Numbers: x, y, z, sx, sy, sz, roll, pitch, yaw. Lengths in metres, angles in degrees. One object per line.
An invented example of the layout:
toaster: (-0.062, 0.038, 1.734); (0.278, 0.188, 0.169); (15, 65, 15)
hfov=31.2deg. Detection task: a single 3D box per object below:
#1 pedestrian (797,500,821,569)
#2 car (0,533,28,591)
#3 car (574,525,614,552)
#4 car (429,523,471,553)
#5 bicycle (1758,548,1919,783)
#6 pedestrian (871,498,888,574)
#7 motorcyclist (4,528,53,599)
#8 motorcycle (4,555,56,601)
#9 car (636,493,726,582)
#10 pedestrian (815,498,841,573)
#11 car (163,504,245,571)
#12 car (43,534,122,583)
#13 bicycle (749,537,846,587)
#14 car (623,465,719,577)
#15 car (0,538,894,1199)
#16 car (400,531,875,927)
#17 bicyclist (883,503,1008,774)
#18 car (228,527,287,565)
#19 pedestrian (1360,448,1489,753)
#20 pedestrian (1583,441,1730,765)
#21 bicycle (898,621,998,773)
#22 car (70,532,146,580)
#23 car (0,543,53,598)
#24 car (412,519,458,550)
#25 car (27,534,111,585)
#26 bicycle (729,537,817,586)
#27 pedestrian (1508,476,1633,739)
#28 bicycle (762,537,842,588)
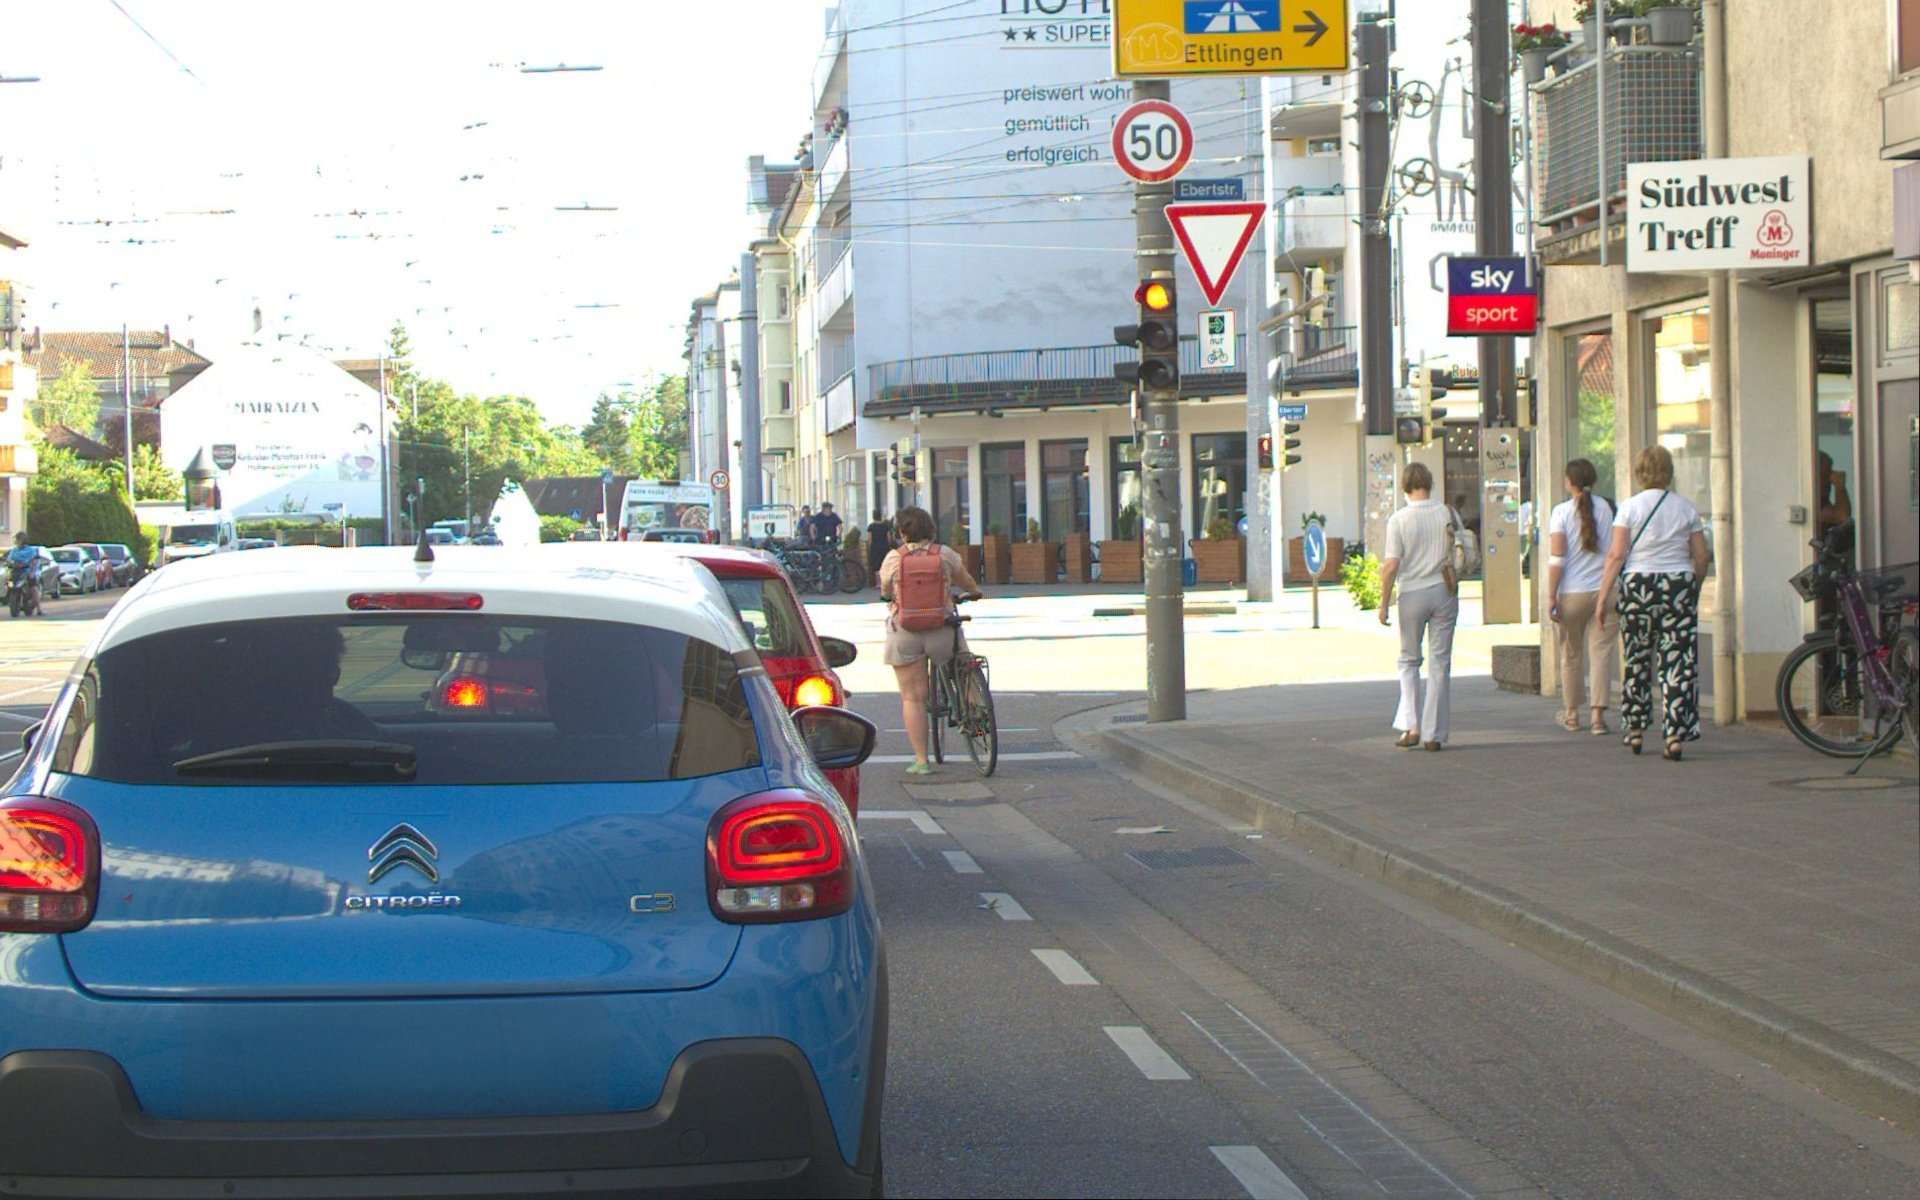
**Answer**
pedestrian: (-3.398, -1.473, 77.324); (0.491, 1.550, 0.648); (-1, 1, -1)
car: (-26.426, -1.012, 92.602); (1.910, 1.492, 4.001); (-1, 2, -6)
car: (-17.763, -3.006, 166.779); (1.754, 1.255, 3.833); (-1, 2, -9)
car: (-27.778, -3.380, 187.405); (2.021, 1.520, 4.001); (-1, 2, -6)
bicycle: (4.500, 0.290, 16.971); (0.530, 1.068, 1.811); (-1, 1, -5)
pedestrian: (-1.667, -1.329, 71.227); (0.284, 1.550, 0.305); (-1, 1, -10)
motorcyclist: (-18.372, -0.727, 67.815); (0.719, 1.373, 0.911); (-1, 1, -2)
motorcycle: (-18.382, -0.444, 67.976); (0.615, 0.861, 1.671); (-1, 2, -2)
car: (-5.568, -1.248, 68.521); (1.732, 1.744, 3.214); (0, 1, -5)
pedestrian: (-2.756, -1.340, 71.662); (0.491, 1.550, 0.384); (-1, 1, -5)
car: (-26.318, -2.206, 119.783); (2.206, 2.243, 4.678); (-1, 2, -6)
car: (-28.444, -1.359, 111.534); (1.910, 1.492, 4.001); (-1, 2, -6)
bicycle: (-3.208, -0.756, 68.114); (1.873, 0.953, 0.702); (-1, 1, 0)
car: (-6.178, -1.685, 73.416); (1.993, 2.317, 4.001); (0, 1, -5)
car: (-1.250, 0.607, 7.524); (1.743, 1.457, 4.001); (0, 1, -8)
car: (-1.265, 0.437, 14.759); (1.738, 1.415, 4.001); (-1, 2, -2)
bicyclist: (-0.097, 0.226, 21.414); (0.726, 1.640, 0.790); (-1, 1, -2)
car: (-29.610, -2.304, 145.010); (2.021, 1.520, 4.001); (-1, 2, -6)
pedestrian: (2.622, -0.011, 19.451); (0.541, 1.666, 0.624); (-3, 3, -4)
pedestrian: (3.699, 0.008, 18.286); (0.541, 1.666, 0.650); (-3, 2, -4)
bicycle: (-0.090, 0.596, 21.807); (0.498, 0.861, 1.749); (-1, 2, -4)
car: (-28.875, -1.508, 116.616); (1.870, 1.568, 4.001); (-1, 2, -5)
car: (-27.218, -0.853, 98.162); (1.910, 1.492, 4.001); (-1, 2, -6)
car: (-25.918, -3.247, 169.932); (2.021, 1.520, 4.001); (-1, 2, -6)
car: (-27.599, -1.268, 106.554); (1.910, 1.492, 4.001); (-1, 2, -6)
bicycle: (-3.782, -0.777, 69.459); (1.720, 0.953, 0.702); (-1, 1, 0)
pedestrian: (3.622, 0.036, 20.424); (0.541, 1.502, 0.611); (-3, 3, -4)
bicycle: (-3.079, -0.735, 67.057); (1.504, 0.953, 0.702); (-1, 1, 0)
